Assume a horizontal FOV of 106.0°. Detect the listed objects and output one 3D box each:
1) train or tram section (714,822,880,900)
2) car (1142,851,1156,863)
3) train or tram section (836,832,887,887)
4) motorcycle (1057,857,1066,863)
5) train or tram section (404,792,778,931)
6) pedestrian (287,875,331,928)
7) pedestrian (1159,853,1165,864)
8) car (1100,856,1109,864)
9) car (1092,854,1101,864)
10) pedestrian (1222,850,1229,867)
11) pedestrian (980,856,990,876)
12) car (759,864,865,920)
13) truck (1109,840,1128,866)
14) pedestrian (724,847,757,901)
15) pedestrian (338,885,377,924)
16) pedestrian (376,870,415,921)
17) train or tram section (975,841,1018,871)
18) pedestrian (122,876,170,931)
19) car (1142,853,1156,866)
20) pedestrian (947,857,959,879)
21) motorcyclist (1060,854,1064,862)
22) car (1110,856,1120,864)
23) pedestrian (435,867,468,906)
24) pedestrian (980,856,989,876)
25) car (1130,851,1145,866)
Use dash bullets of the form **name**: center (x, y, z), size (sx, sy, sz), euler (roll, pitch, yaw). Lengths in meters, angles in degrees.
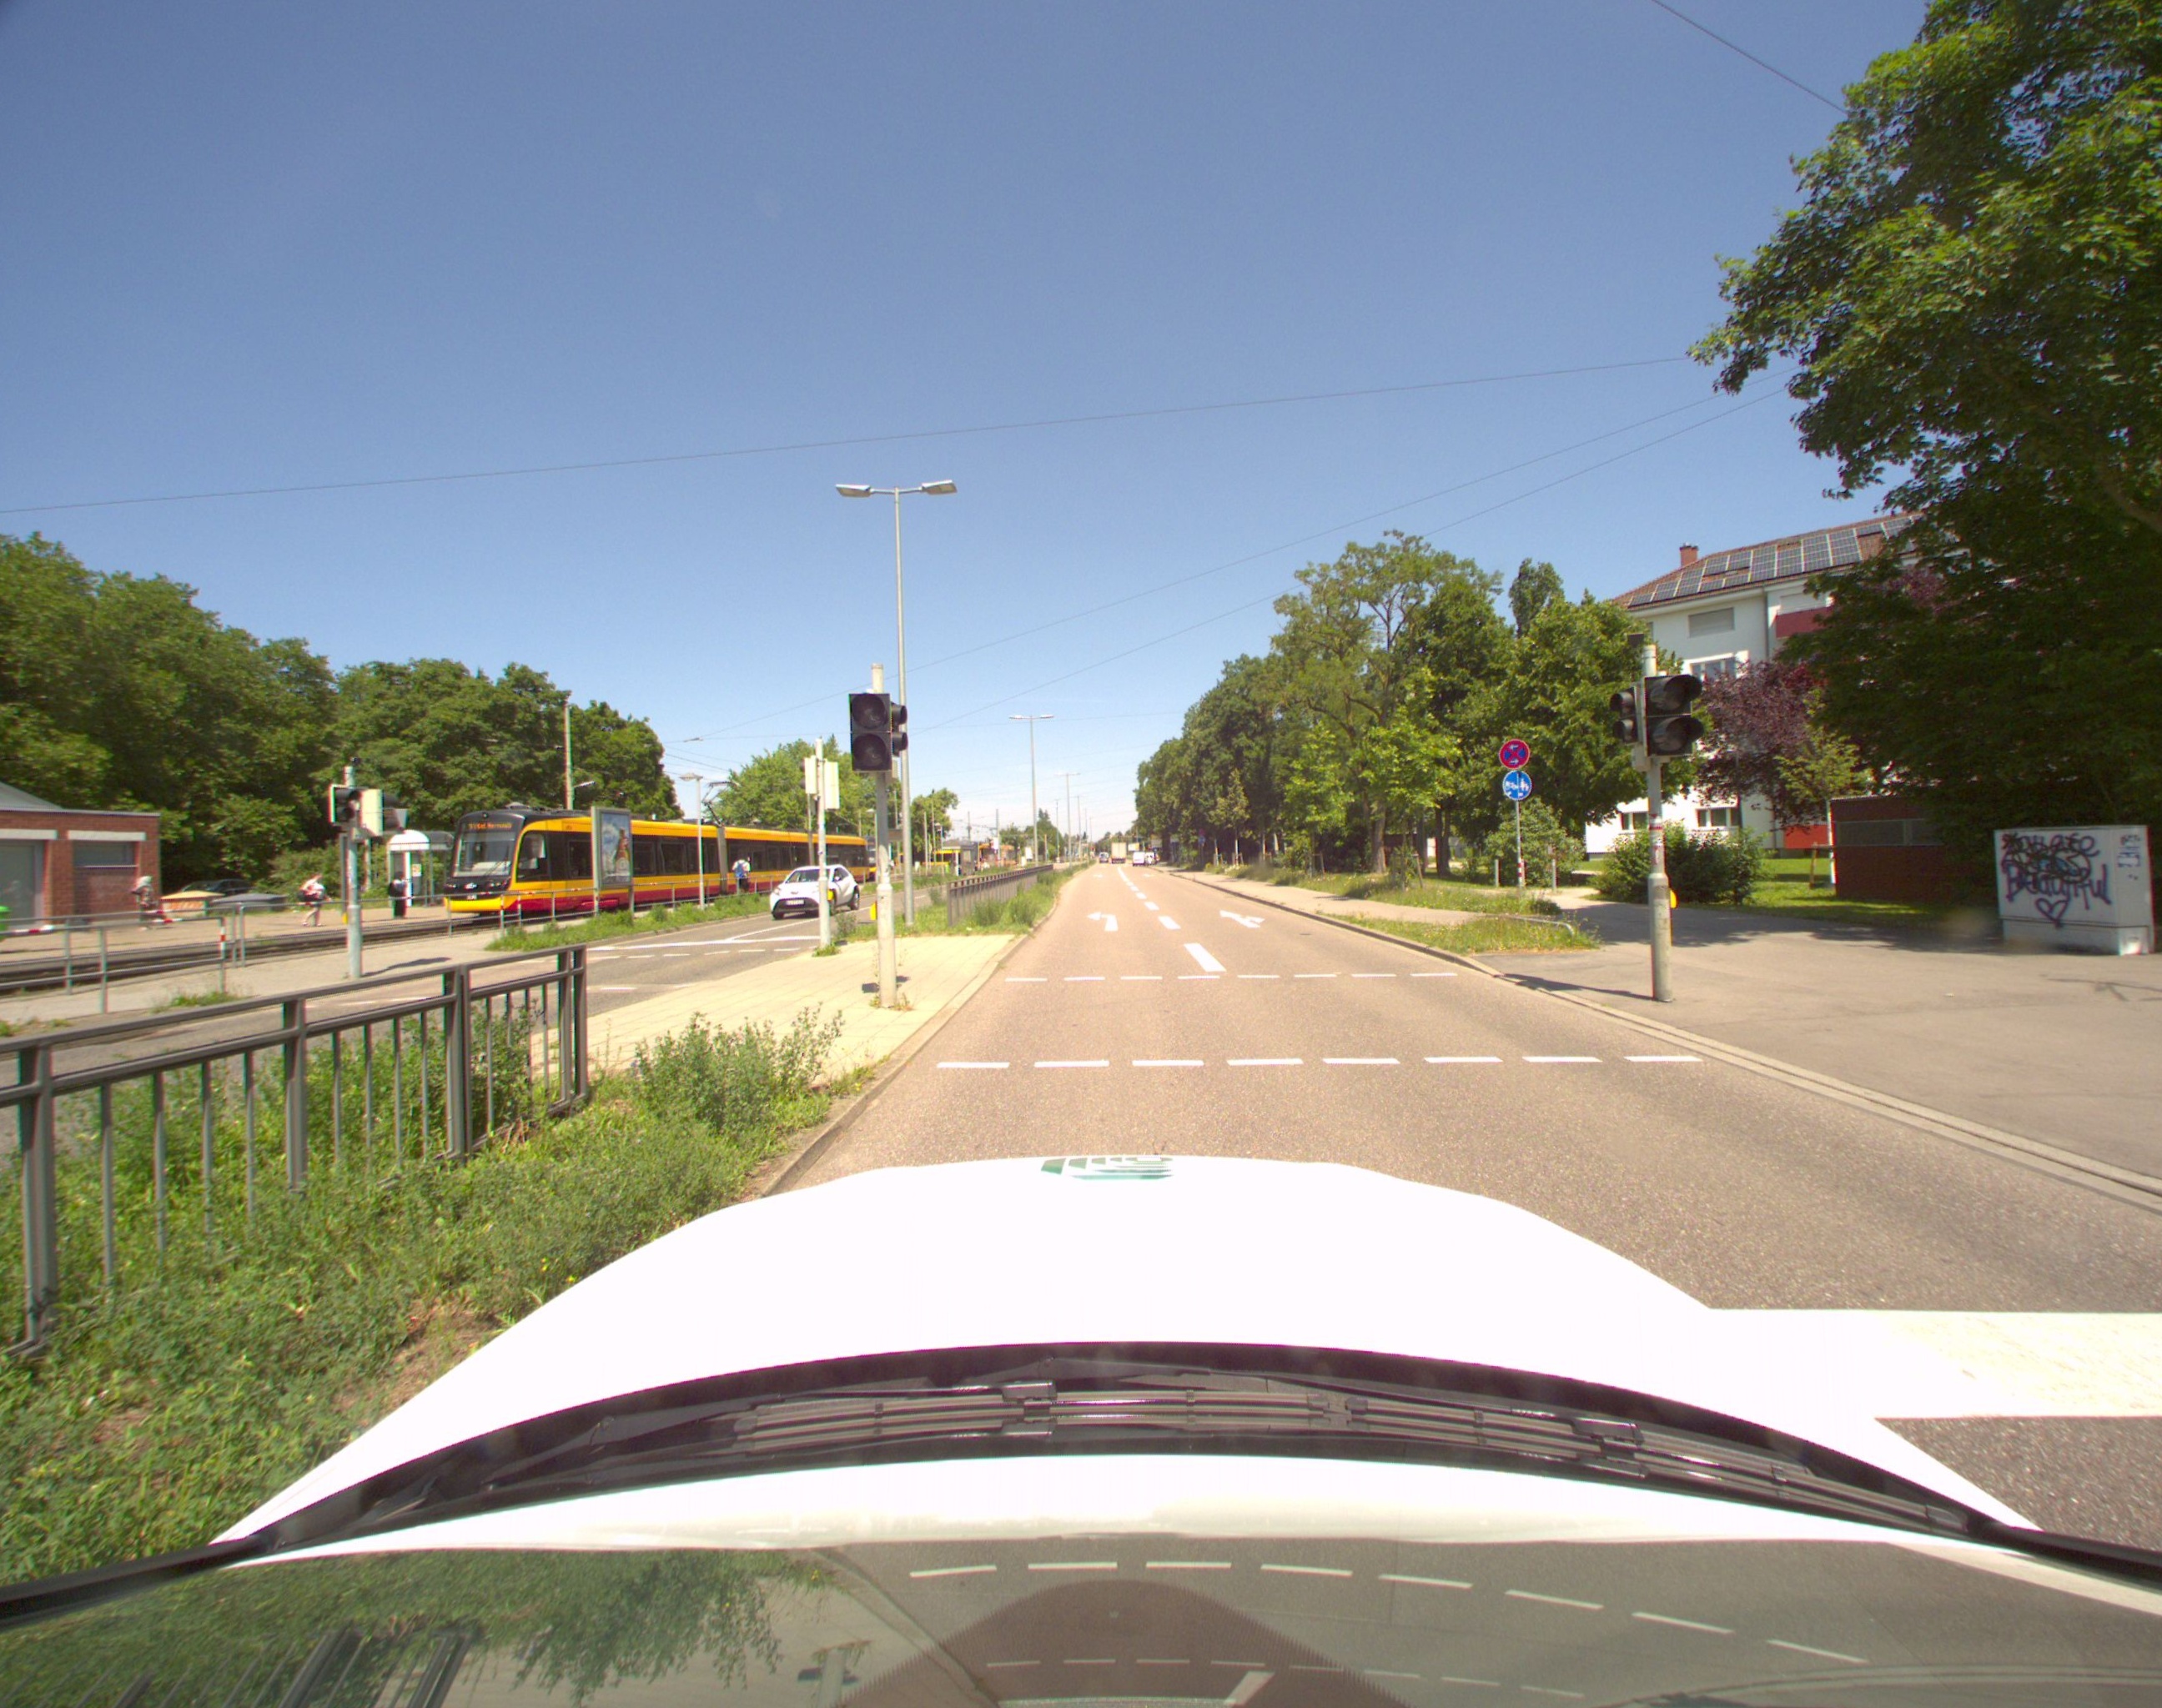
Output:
- **train or tram section**: center (-16.977, 0.383, 51.313), size (3.203, 3.931, 18.510), euler (-2, 0, 2)
- **car**: center (9.910, 0.473, 118.763), size (1.773, 1.668, 4.002), euler (-2, 0, 2)
- **train or tram section**: center (-18.353, 0.449, 69.089), size (3.219, 3.931, 18.419), euler (-2, 0, -13)
- **motorcycle**: center (-4.708, 1.423, 198.168), size (2.183, 1.406, 0.845), euler (-2, 0, -10)
- **train or tram section**: center (-17.651, 0.228, 32.851), size (3.203, 3.931, 18.510), euler (-2, 0, 2)
- **pedestrian**: center (-21.719, 1.332, 22.911), size (0.636, 1.456, 0.583), euler (-2, 0, 1)
- **pedestrian**: center (16.251, 0.882, 163.151), size (1.180, 2.013, 1.214), euler (-2, 0, 1)
- **car**: center (4.560, 1.189, 158.006), size (1.804, 1.464, 4.002), euler (-2, 0, 2)
- **car**: center (3.328, 1.116, 175.333), size (1.986, 2.013, 4.002), euler (-2, 0, 2)
- **pedestrian**: center (12.850, 0.380, 72.347), size (0.600, 1.438, 0.557), euler (-2, 0, 8)
- **pedestrian**: center (-9.908, 1.248, 84.067), size (0.812, 2.013, 0.939), euler (-2, 0, 1)
- **car**: center (-8.095, 1.097, 24.890), size (1.838, 1.494, 3.793), euler (-2, 0, 2)
- **truck**: center (6.774, -0.153, 146.138), size (3.193, 4.359, 6.563), euler (-2, 0, 2)
- **pedestrian**: center (-11.729, 0.672, 28.087), size (0.715, 1.777, 0.843), euler (3, 2, 1)
- **pedestrian**: center (-21.835, 1.519, 24.577), size (0.636, 1.124, 0.570), euler (-2, 0, 1)
- **pedestrian**: center (-21.557, 1.285, 25.622), size (0.635, 1.555, 0.691), euler (-2, 0, -11)
- **train or tram section**: center (-11.961, 0.266, 118.915), size (2.948, 3.749, 30.027), euler (-2, 0, 0)
- **pedestrian**: center (-25.865, 1.366, 22.541), size (0.636, 1.480, 0.570), euler (-2, 0, 1)
- **car**: center (9.387, 0.730, 112.401), size (1.773, 1.668, 4.002), euler (-2, 0, 2)
- **pedestrian**: center (-10.977, 1.207, 69.730), size (0.783, 1.868, 0.818), euler (-2, 0, 1)
- **motorcyclist**: center (-4.649, 0.902, 198.198), size (0.924, 1.835, 0.847), euler (-2, 0, -10)
- **car**: center (6.489, 1.161, 153.689), size (1.804, 1.464, 4.002), euler (-2, 0, 2)
- **pedestrian**: center (-25.960, 1.328, 33.607), size (0.669, 1.590, 0.808), euler (-2, 0, 1)
- **pedestrian**: center (-10.128, 1.261, 85.367), size (0.812, 2.013, 0.939), euler (-2, 0, 1)
- **car**: center (7.299, 0.573, 105.540), size (1.773, 1.903, 4.002), euler (-2, 0, 2)
